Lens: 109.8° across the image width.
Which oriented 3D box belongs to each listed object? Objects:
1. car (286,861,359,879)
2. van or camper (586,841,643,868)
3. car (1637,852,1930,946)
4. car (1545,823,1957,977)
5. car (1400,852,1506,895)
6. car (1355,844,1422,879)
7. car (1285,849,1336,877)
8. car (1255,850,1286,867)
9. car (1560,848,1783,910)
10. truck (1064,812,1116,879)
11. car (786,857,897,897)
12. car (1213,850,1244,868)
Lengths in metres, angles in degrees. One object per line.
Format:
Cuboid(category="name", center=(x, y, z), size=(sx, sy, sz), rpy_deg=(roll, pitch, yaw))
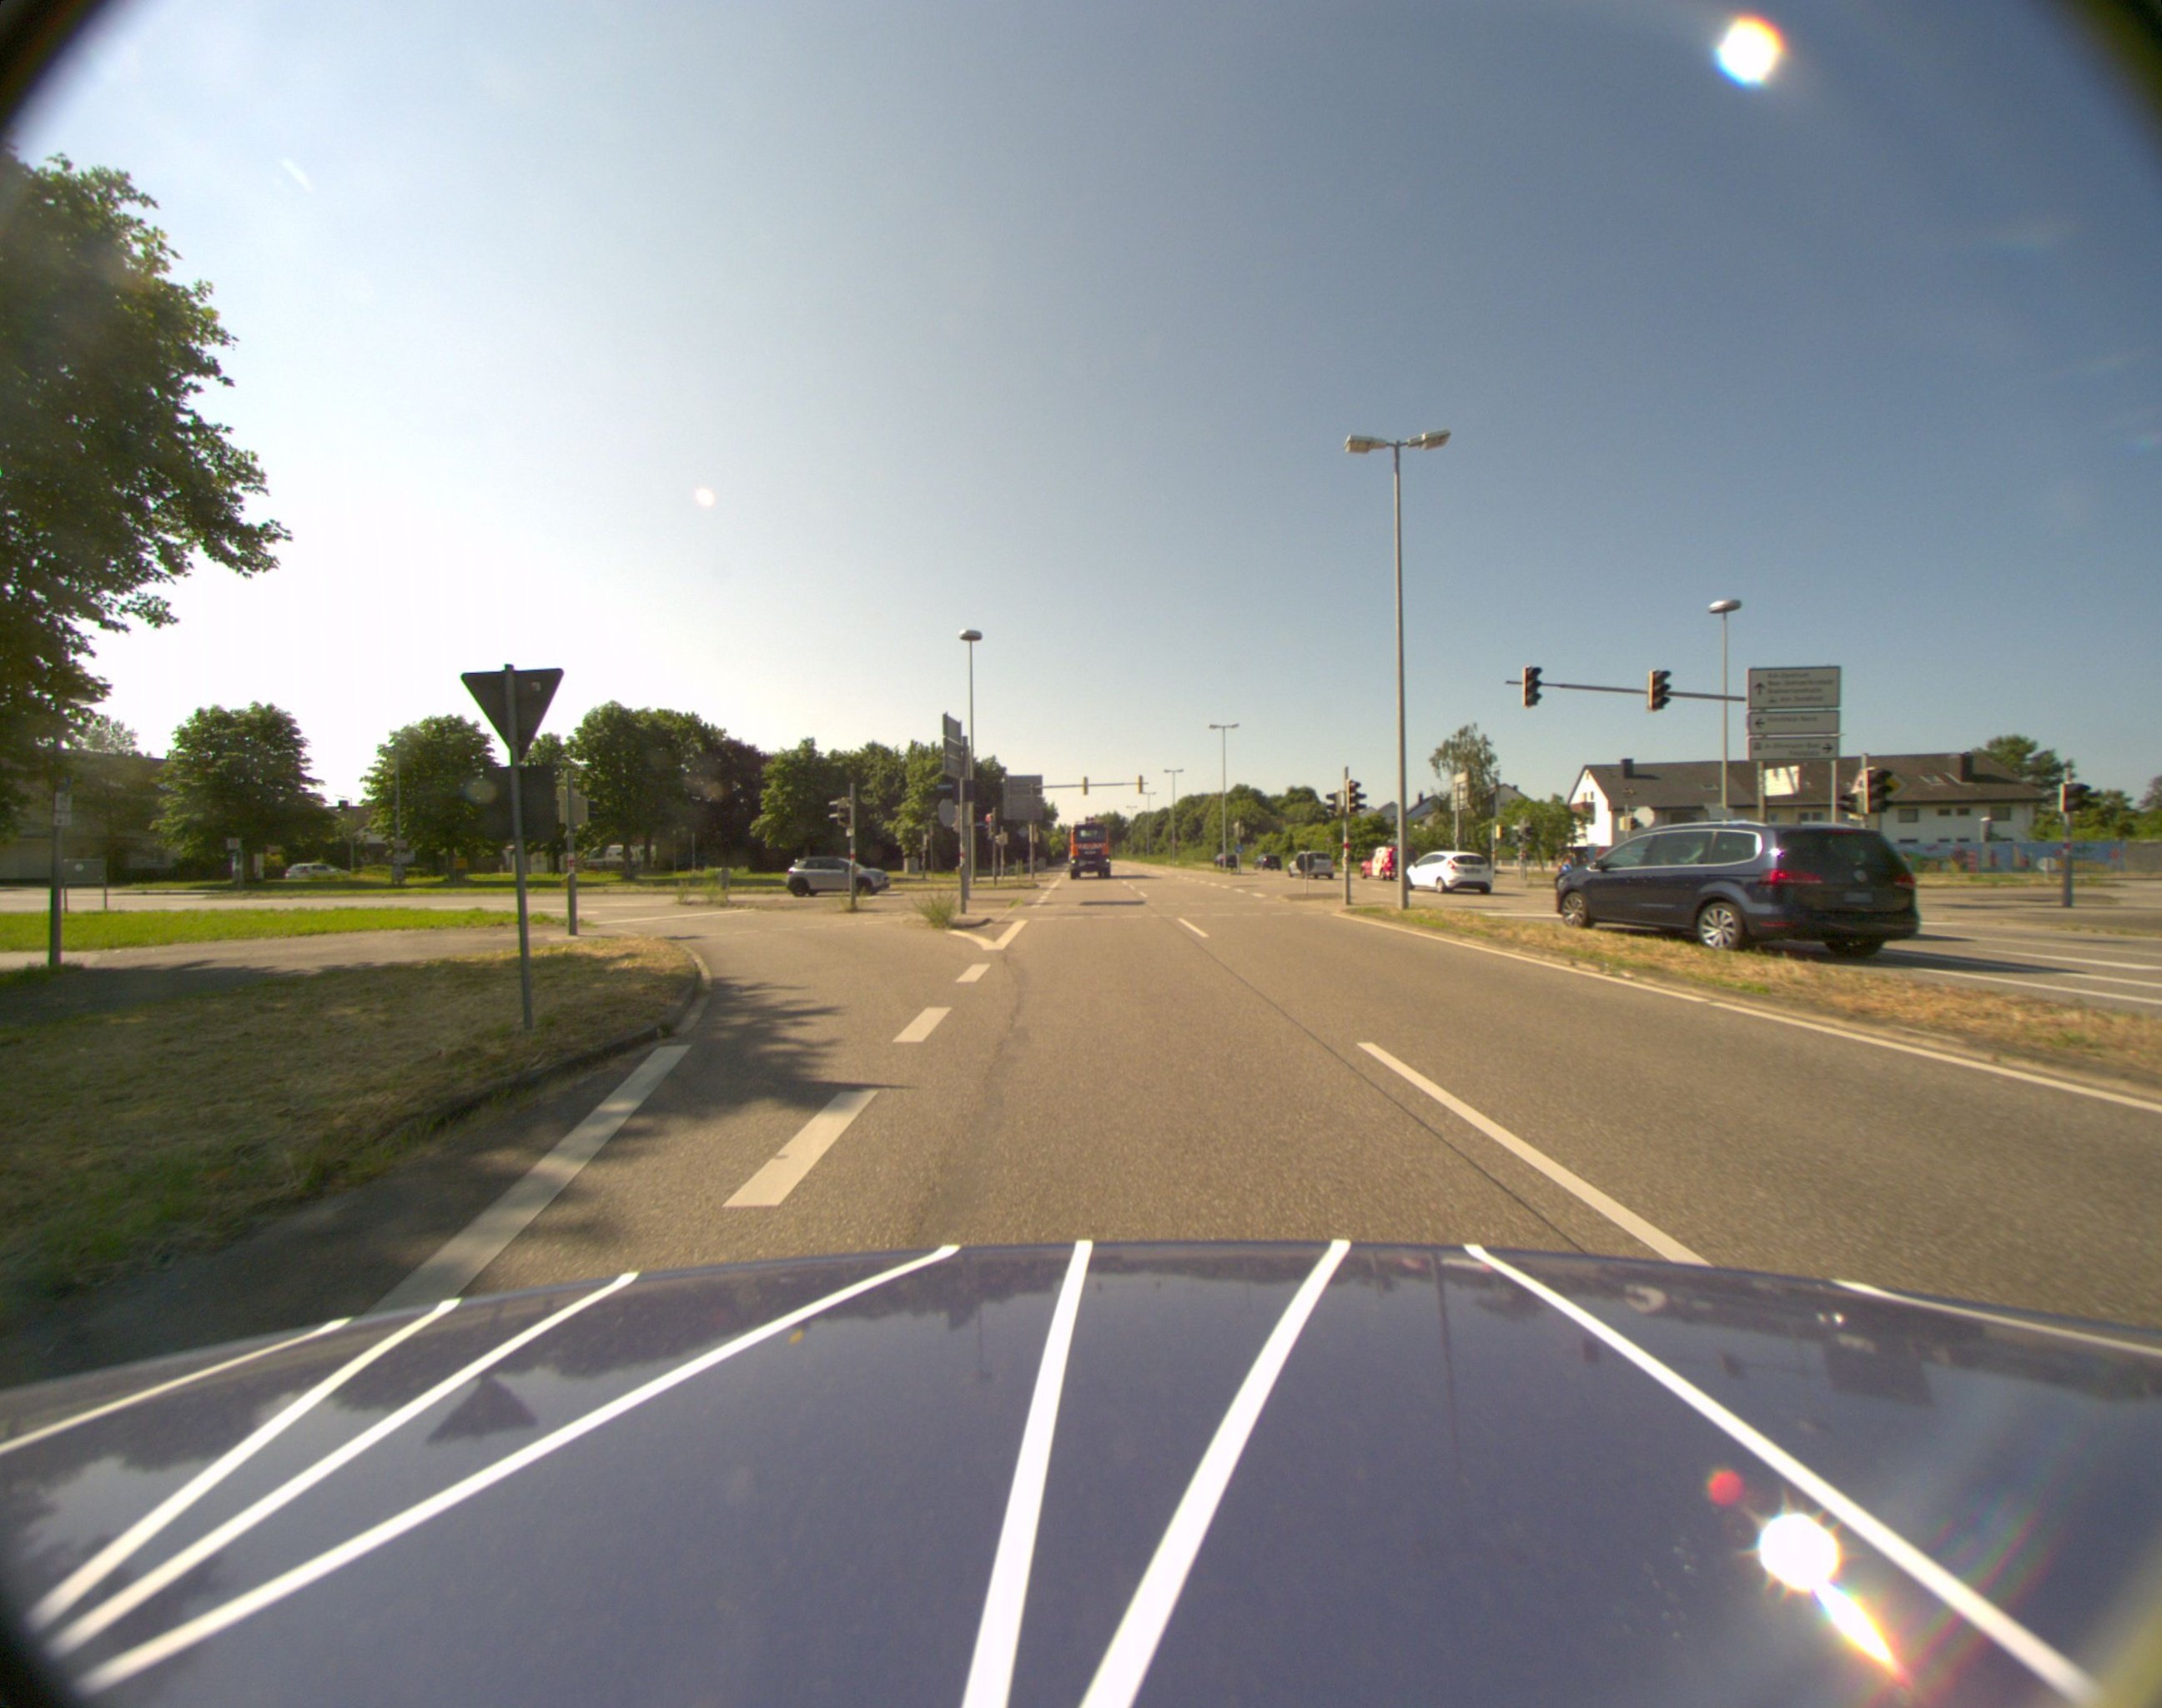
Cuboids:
Cuboid(category="car", center=(-60.643, 1.273, 60.814), size=(1.731, 1.281, 4.000), rpy_deg=(-1, 1, 2))
Cuboid(category="van or camper", center=(-49.801, 0.044, 81.189), size=(4.812, 2.815, 1.999), rpy_deg=(0, 1, -2))
Cuboid(category="car", center=(12.648, 0.712, 14.106), size=(1.819, 1.476, 4.000), rpy_deg=(-1, 1, 1))
Cuboid(category="car", center=(9.104, 0.516, 11.020), size=(1.986, 1.740, 4.507), rpy_deg=(1, 0, 1))
Cuboid(category="car", center=(13.059, 0.638, 26.923), size=(1.833, 1.378, 3.842), rpy_deg=(0, 0, -1))
Cuboid(category="car", center=(16.341, 0.350, 40.622), size=(1.709, 1.759, 4.227), rpy_deg=(1, 0, -3))
Cuboid(category="car", center=(12.543, 0.471, 41.726), size=(1.623, 1.449, 3.871), rpy_deg=(0, 1, 0))
Cuboid(category="car", center=(17.007, 0.397, 68.429), size=(1.889, 1.449, 4.230), rpy_deg=(0, 1, 3))
Cuboid(category="car", center=(16.875, 0.622, 22.242), size=(1.999, 1.465, 5.615), rpy_deg=(3, 1, -1))
Cuboid(category="truck", center=(0.582, -0.547, 47.744), size=(2.940, 3.853, 6.590), rpy_deg=(-2, 1, 1))
Cuboid(category="car", center=(-9.938, 0.939, 31.725), size=(4.062, 1.555, 1.742), rpy_deg=(0, 1, 0))
Cuboid(category="car", center=(12.942, 0.422, 66.813), size=(1.986, 1.449, 4.332), rpy_deg=(0, 1, 2))
